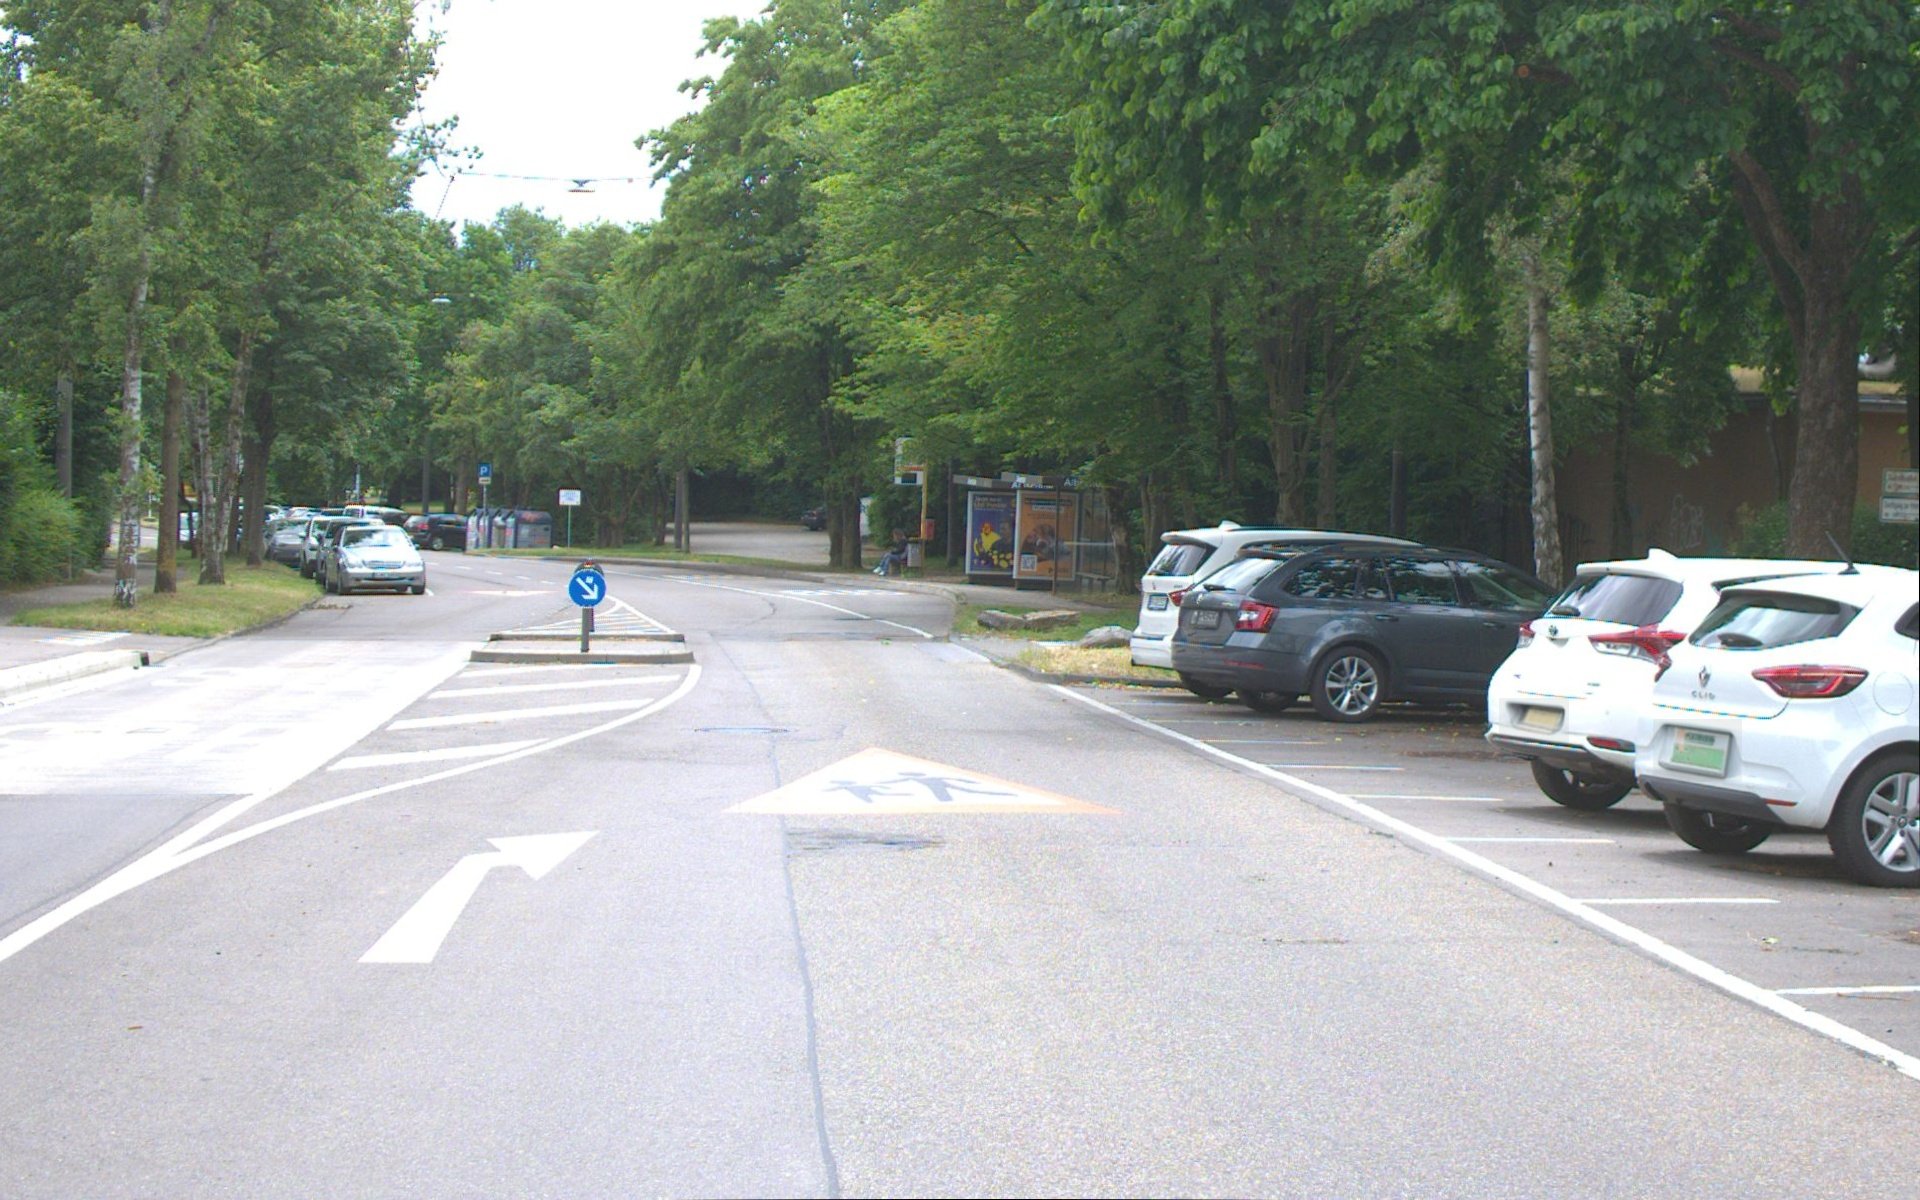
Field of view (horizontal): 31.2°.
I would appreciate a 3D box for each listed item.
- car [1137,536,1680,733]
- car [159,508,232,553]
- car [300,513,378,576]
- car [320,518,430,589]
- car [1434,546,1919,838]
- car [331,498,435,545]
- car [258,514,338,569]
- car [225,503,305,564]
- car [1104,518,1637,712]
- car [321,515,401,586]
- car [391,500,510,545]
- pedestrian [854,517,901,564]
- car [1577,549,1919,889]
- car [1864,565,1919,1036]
[{"bbox_3d":[3.784,0.280,29.209,4.131,1.459,1.799,2,1,-15],"label":"car"},{"bbox_3d":[-27.891,-2.545,125.286,1.804,1.557,4.268,-3,3,-23],"label":"car"},{"bbox_3d":[-16.092,-1.451,88.997,1.735,1.573,4.143,-1,2,-13],"label":"car"},{"bbox_3d":[-12.169,-0.984,71.337,1.735,1.411,4.474,-1,2,-17],"label":"car"},{"bbox_3d":[4.905,0.522,19.265,3.985,1.459,1.867,2,1,-19],"label":"car"},{"bbox_3d":[-24.015,-3.263,143.153,3.820,1.714,1.877,3,0,-44],"label":"car"},{"bbox_3d":[-19.253,-1.714,99.879,1.865,1.532,4.228,0,1,-16],"label":"car"},{"bbox_3d":[-22.175,-2.134,109.564,1.857,1.902,5.085,0,1,-18],"label":"car"},{"bbox_3d":[3.783,0.129,31.932,4.466,1.580,1.907,2,1,-13],"label":"car"},{"bbox_3d":[-13.513,-1.142,77.437,1.735,1.532,4.191,0,2,-10],"label":"car"},{"bbox_3d":[-19.734,-2.996,133.238,3.989,1.409,2.057,3,1,-43],"label":"car"},{"bbox_3d":[-2.090,-1.501,86.631,1.063,1.178,0.580,0,1,-16],"label":"pedestrian"},{"bbox_3d":[5.222,0.582,16.649,3.986,1.459,1.797,2,1,-22],"label":"car"},{"bbox_3d":[5.094,0.715,10.927,3.986,1.459,1.851,2,1,-26],"label":"car"}]
